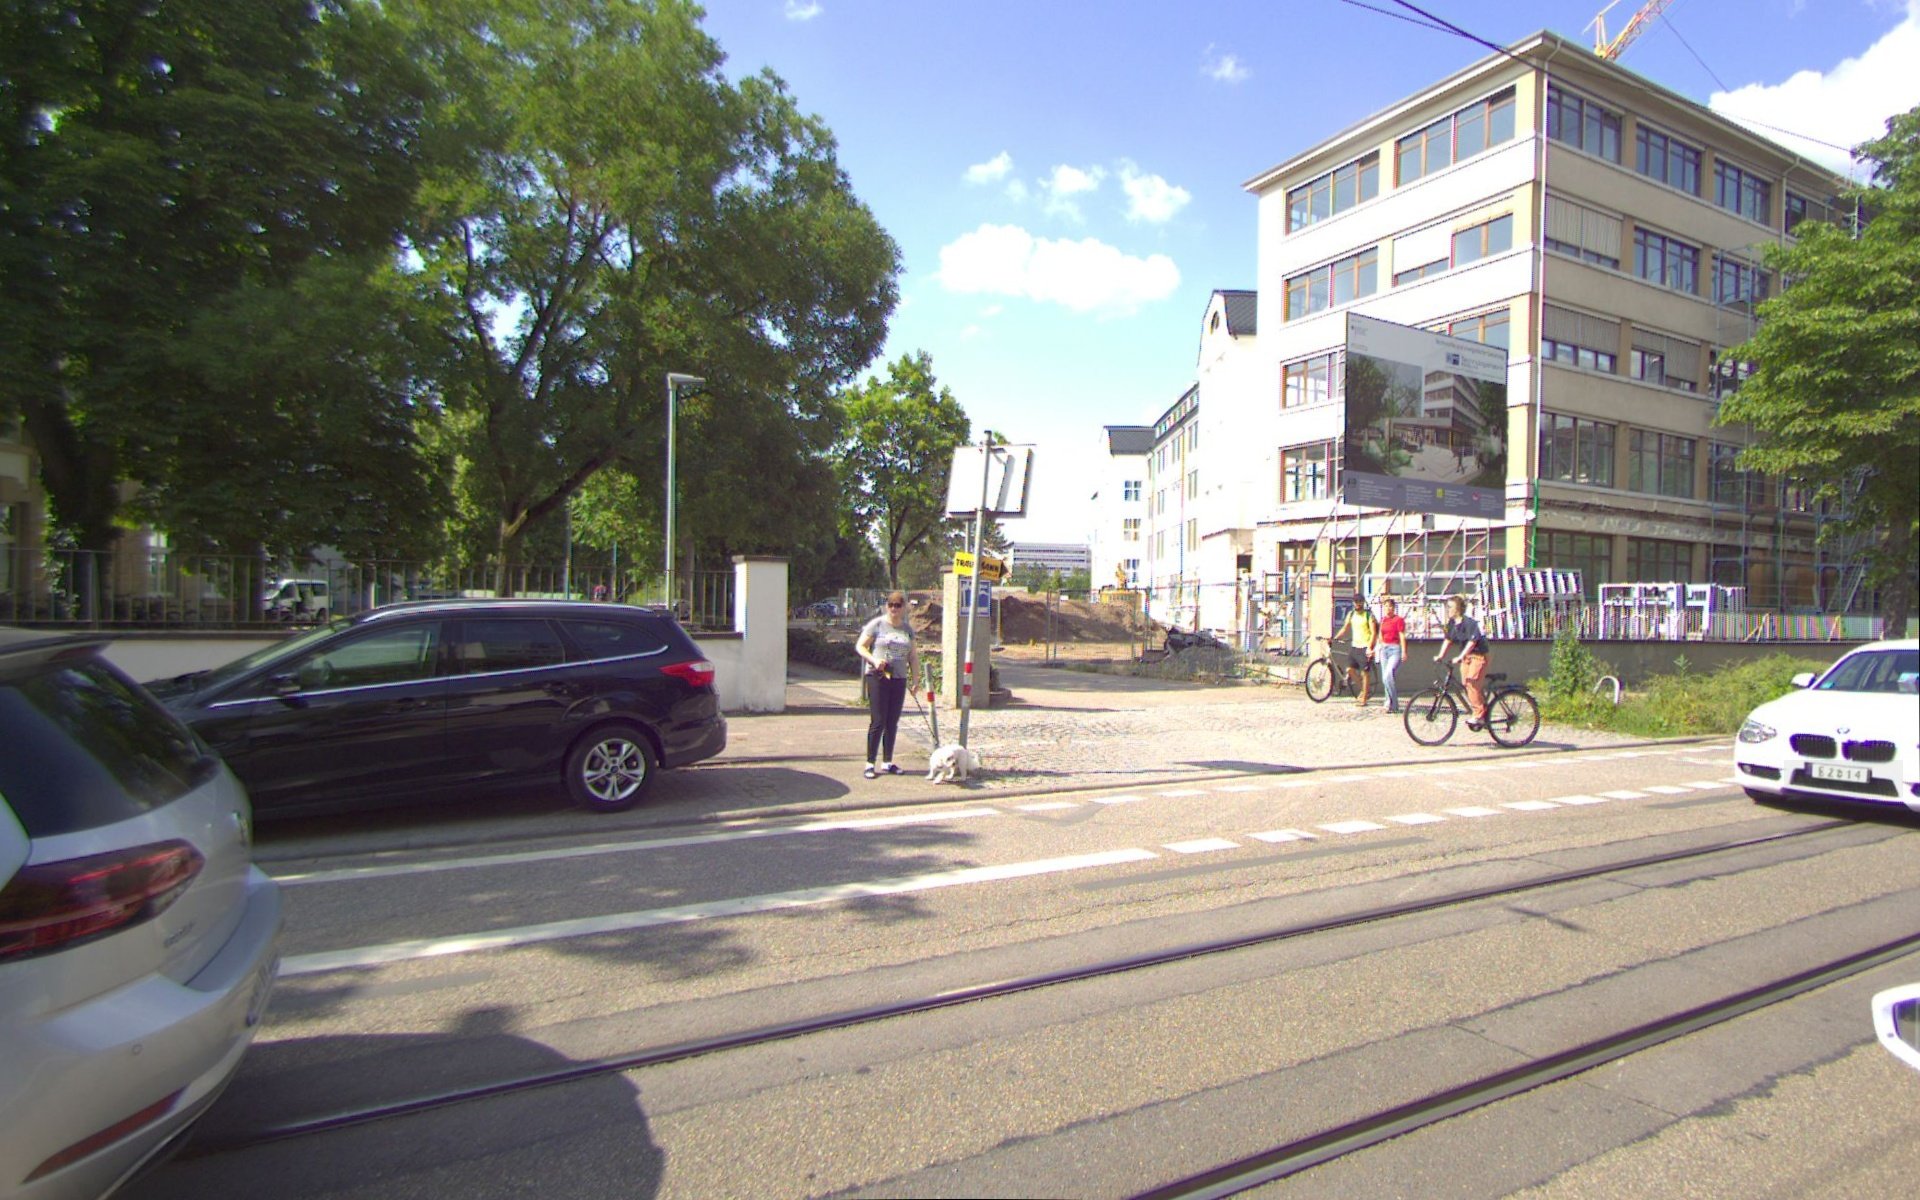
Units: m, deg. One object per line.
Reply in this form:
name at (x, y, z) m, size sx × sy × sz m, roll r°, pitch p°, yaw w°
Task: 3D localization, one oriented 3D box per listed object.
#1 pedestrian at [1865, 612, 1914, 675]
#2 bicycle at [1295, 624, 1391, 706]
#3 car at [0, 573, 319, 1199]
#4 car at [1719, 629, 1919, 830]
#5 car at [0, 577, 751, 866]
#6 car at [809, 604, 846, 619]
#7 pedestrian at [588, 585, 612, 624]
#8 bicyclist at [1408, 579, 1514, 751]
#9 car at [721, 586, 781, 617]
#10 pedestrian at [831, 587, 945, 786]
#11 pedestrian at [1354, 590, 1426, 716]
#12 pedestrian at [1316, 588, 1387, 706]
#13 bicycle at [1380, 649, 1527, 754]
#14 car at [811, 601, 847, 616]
pedestrian at (25.149, 1.158, 27.178) m, size 0.587 × 1.642 × 0.761 m, roll 1°, pitch 1°, yaw -28°
bicycle at (6.355, 1.055, 16.639) m, size 1.716 × 1.303 × 0.444 m, roll 1°, pitch 0°, yaw -27°
car at (-3.505, 0.639, 1.803) m, size 3.805 × 1.435 × 1.766 m, roll 2°, pitch -1°, yaw -29°
car at (8.395, 0.994, 8.571) m, size 4.179 × 1.424 × 1.678 m, roll 2°, pitch -3°, yaw -32°
car at (-3.991, 0.695, 7.211) m, size 4.541 × 1.536 × 1.739 m, roll 2°, pitch 1°, yaw -32°
car at (-13.466, 1.180, 102.408) m, size 3.595 × 1.509 × 1.785 m, roll 1°, pitch 0°, yaw -2°
pedestrian at (-15.328, 0.184, 42.800) m, size 0.751 × 1.642 × 0.594 m, roll 1°, pitch 0°, yaw 10°
bicyclist at (6.216, 0.794, 12.491) m, size 0.824 × 2.040 × 0.872 m, roll 2°, pitch -3°, yaw -30°
car at (-14.638, 0.111, 70.466) m, size 3.925 × 2.040 × 1.998 m, roll 1°, pitch 0°, yaw -6°
pedestrian at (-0.638, 0.733, 8.976) m, size 0.714 × 1.659 × 0.691 m, roll 2°, pitch 1°, yaw 28°
pedestrian at (6.650, 0.796, 15.545) m, size 0.655 × 1.857 × 0.703 m, roll -1°, pitch 4°, yaw -34°
pedestrian at (6.281, 0.739, 16.120) m, size 0.655 × 1.817 × 0.703 m, roll 1°, pitch 3°, yaw -34°
bicycle at (6.118, 1.216, 12.426) m, size 1.921 × 1.181 × 0.640 m, roll 1°, pitch 1°, yaw -30°
car at (-14.288, 0.925, 109.802) m, size 3.593 × 1.509 × 1.786 m, roll 1°, pitch 0°, yaw 1°
